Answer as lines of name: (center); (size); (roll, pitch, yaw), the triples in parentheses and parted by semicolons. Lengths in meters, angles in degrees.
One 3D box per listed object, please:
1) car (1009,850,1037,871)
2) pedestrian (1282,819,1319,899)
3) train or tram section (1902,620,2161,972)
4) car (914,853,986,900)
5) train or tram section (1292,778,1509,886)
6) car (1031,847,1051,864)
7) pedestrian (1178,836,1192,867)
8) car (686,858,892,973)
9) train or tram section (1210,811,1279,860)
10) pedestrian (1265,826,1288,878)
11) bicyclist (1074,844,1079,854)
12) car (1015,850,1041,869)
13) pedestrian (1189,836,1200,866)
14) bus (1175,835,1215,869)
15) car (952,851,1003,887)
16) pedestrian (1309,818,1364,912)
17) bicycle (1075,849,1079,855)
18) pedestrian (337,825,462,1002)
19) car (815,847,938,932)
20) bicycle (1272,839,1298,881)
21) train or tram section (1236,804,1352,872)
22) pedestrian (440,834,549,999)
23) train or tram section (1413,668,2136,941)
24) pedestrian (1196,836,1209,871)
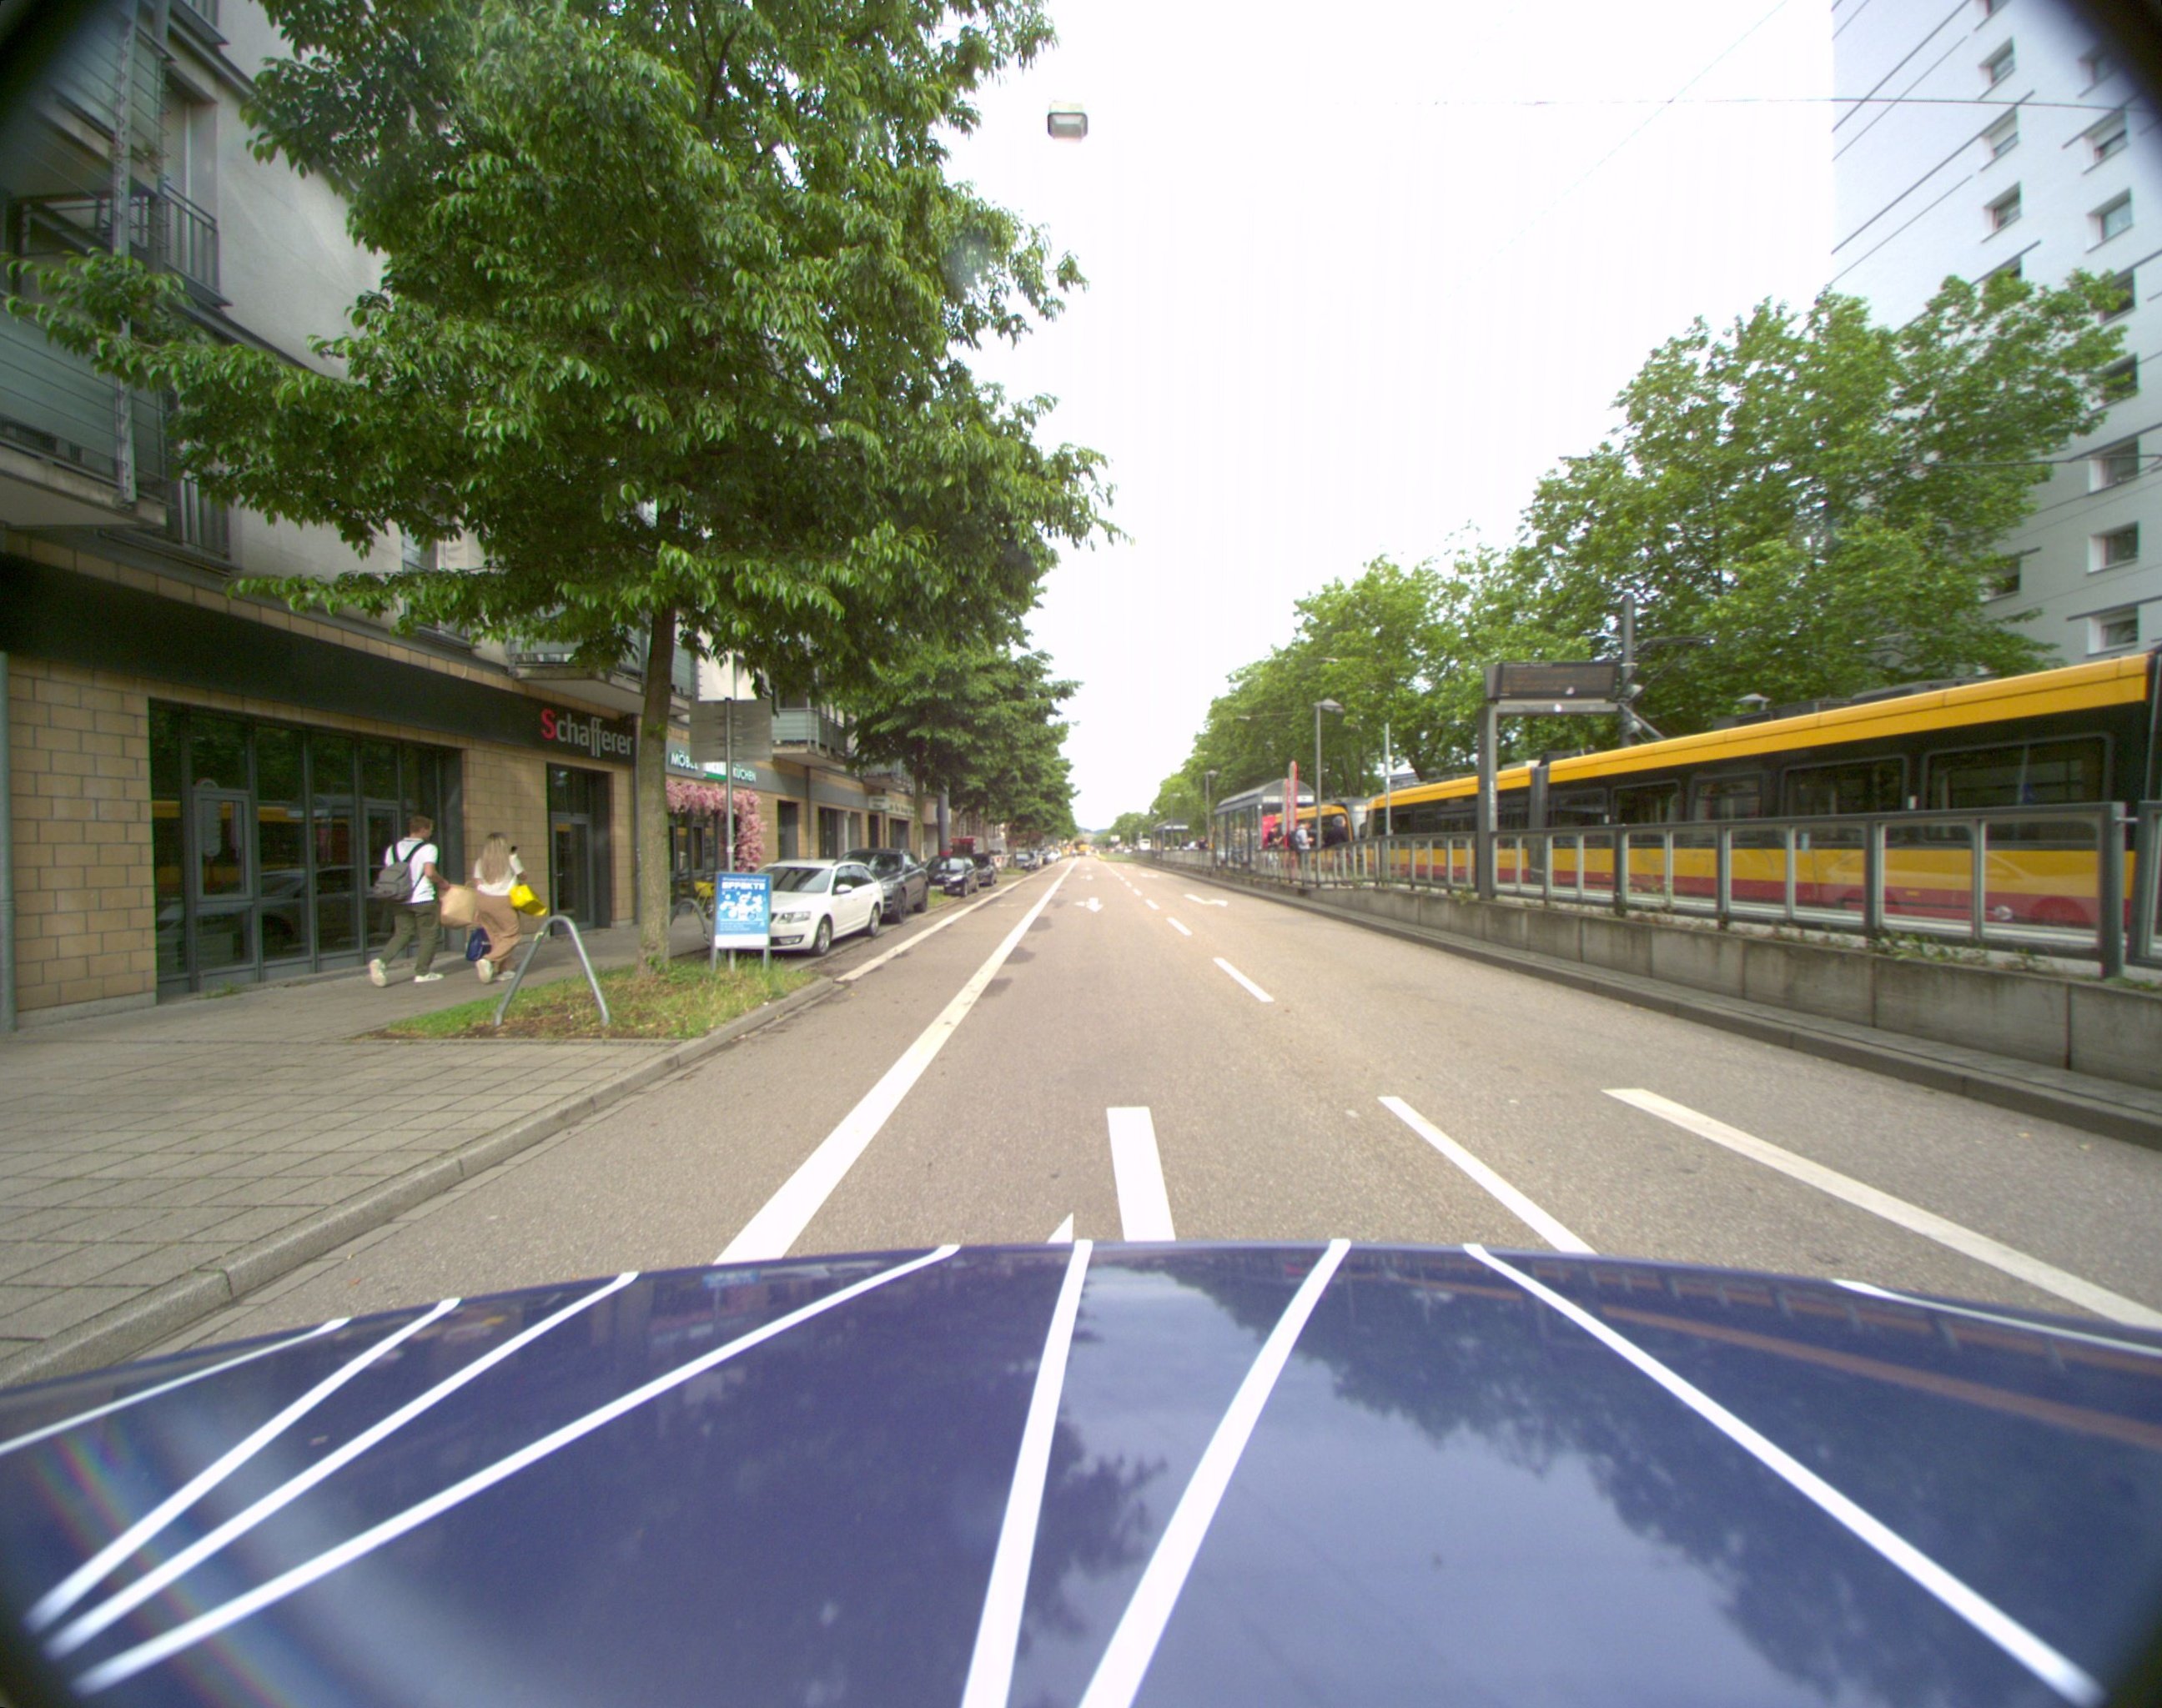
car: (-4.288, 0.460, 56.517); (1.755, 1.452, 4.279); (1, 1, 0)
pedestrian: (5.698, 0.122, 19.732); (0.753, 2.002, 0.819); (-2, 2, 24)
train or tram section: (12.446, -0.553, 2.226); (3.067, 3.568, 15.846); (-2, 1, 1)
car: (-4.613, 0.735, 27.372); (1.680, 1.433, 4.407); (2, 1, 2)
train or tram section: (12.828, -0.852, 33.108); (3.067, 3.511, 15.292); (-2, 1, 1)
car: (-4.088, 0.134, 78.821); (1.837, 1.720, 4.279); (1, 1, 0)
pedestrian: (6.629, -0.163, 48.462); (0.676, 2.002, 0.588); (-2, 1, -2)
car: (-4.708, 0.886, 13.004); (1.680, 1.490, 4.389); (2, 1, 2)
train or tram section: (13.208, -1.482, 62.780); (3.100, 3.541, 12.537); (-2, 1, 1)
pedestrian: (6.231, -0.070, 24.215); (0.532, 1.623, 0.471); (-2, 1, -2)
bicyclist: (-0.811, -0.885, 138.067); (0.751, 1.777, 0.838); (-2, 1, 1)
car: (-4.343, 0.433, 62.783); (1.755, 1.452, 4.279); (1, 1, 0)
pedestrian: (6.171, -0.148, 41.283); (0.480, 1.623, 0.392); (-2, 1, 2)
bus: (7.338, -0.149, 49.304); (1.998, 2.002, 3.999); (-2, 1, 1)
car: (-4.699, 0.627, 35.117); (1.802, 1.447, 4.387); (2, 1, -1)
pedestrian: (5.669, 0.236, 16.873); (0.756, 2.002, 0.816); (-3, 2, -36)
bicycle: (-0.759, -0.371, 137.872); (0.613, 1.116, 2.050); (-2, 1, 1)
pedestrian: (-7.511, 0.629, 8.408); (0.676, 1.880, 0.737); (0, 1, 2)
car: (-4.744, 0.730, 18.329); (1.716, 1.707, 4.710); (2, 1, -1)
bicycle: (6.127, 0.180, 22.869); (0.420, 1.215, 1.289); (-2, 1, 0)
train or tram section: (13.009, -0.966, 48.631); (3.067, 3.511, 15.769); (-2, 1, 1)
pedestrian: (-6.633, 0.673, 8.625); (0.617, 1.795, 0.737); (0, 1, 2)
train or tram section: (12.629, -0.771, 17.796); (3.067, 3.511, 15.292); (-2, 1, 1)
pedestrian: (5.825, -0.029, 36.426); (0.513, 1.623, 0.730); (-2, 1, 2)
